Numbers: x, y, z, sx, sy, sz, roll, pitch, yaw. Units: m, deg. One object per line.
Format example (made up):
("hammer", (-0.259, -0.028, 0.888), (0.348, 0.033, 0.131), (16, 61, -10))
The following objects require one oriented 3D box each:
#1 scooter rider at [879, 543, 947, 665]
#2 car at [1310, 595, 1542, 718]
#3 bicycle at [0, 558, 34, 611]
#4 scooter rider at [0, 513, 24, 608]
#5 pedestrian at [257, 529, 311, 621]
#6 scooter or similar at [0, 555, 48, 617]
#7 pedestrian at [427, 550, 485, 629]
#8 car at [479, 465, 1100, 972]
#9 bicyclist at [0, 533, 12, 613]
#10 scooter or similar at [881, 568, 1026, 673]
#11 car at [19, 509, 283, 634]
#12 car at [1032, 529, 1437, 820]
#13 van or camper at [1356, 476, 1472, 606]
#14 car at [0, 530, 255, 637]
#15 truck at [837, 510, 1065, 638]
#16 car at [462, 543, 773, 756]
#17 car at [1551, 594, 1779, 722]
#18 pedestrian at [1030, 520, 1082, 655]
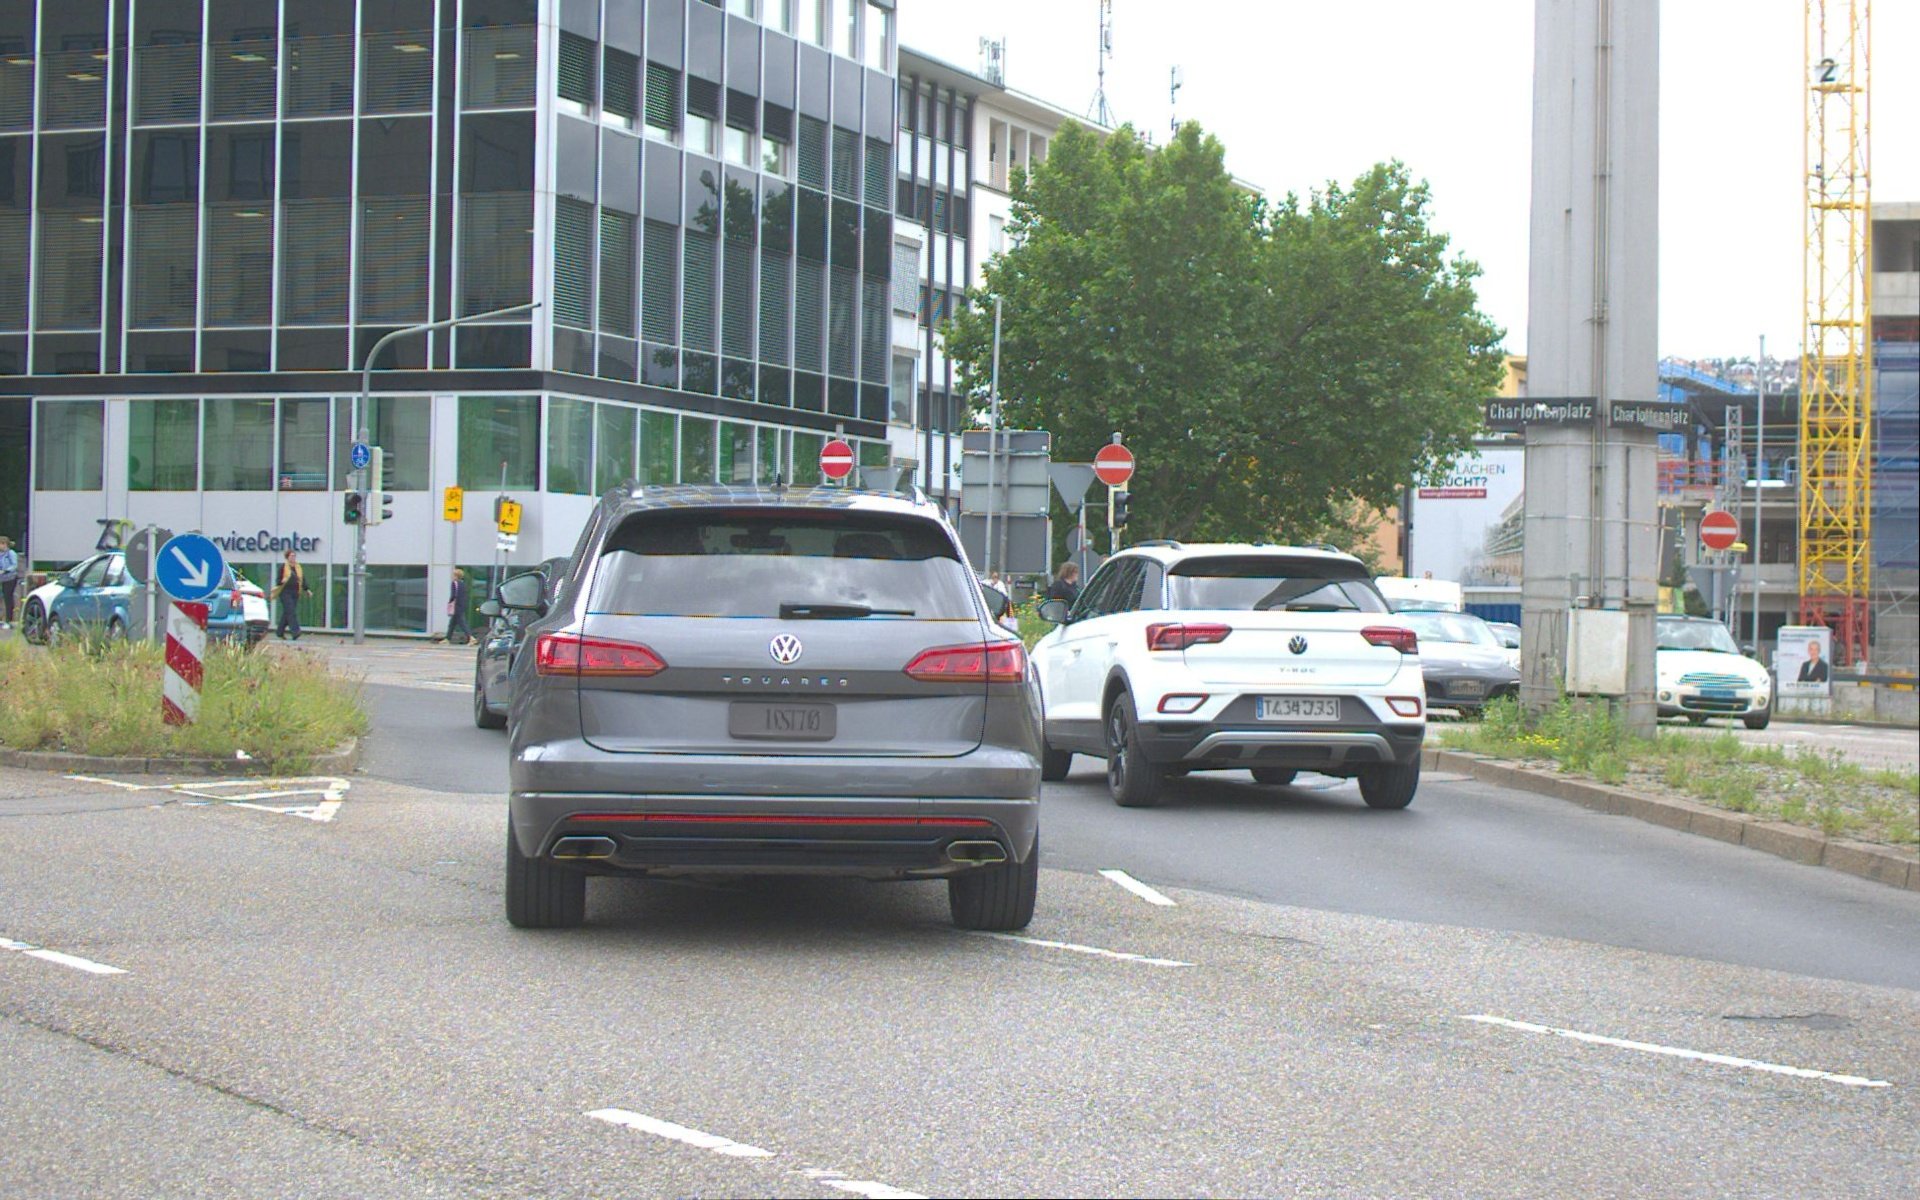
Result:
("scooter rider", (-0.663, 0.063, 48.768), (0.744, 1.688, 0.766), (2, 0, 12))
("car", (5.431, 0.627, 40.509), (1.670, 1.260, 4.059), (-1, 2, -8))
("bicycle", (-18.930, -0.313, 66.884), (1.664, 1.023, 0.581), (1, 1, -1))
("scooter rider", (-18.259, -0.760, 65.752), (0.641, 1.802, 0.593), (1, 1, -14))
("pedestrian", (-12.705, -0.479, 64.597), (0.800, 1.692, 0.547), (2, 2, 21))
("scooter or similar", (-18.145, -0.276, 65.793), (1.319, 1.172, 0.593), (1, 1, -14))
("pedestrian", (-9.430, -0.202, 64.320), (0.837, 1.438, 0.605), (2, 1, 23))
("car", (-0.859, 0.346, 13.763), (1.969, 1.690, 4.226), (1, 2, -9))
("bicyclist", (-18.949, -0.533, 66.876), (0.843, 1.544, 0.565), (1, 1, -1))
("scooter or similar", (-0.086, 0.291, 48.650), (1.883, 1.402, 0.776), (2, 0, 12))
("car", (-10.596, -0.389, 44.897), (1.832, 1.512, 3.766), (0, 2, -40))
("car", (1.578, 0.382, 21.155), (1.797, 1.540, 3.936), (2, 2, -5))
("van or camper", (9.292, -1.195, 70.017), (2.141, 2.469, 6.159), (2, 1, 9))
("car", (-12.935, -0.270, 53.030), (3.761, 1.512, 1.835), (2, 1, 31))
("truck", (-0.136, -0.627, 89.459), (2.341, 3.053, 8.187), (2, 0, 27))
("car", (-2.724, 0.324, 26.483), (1.833, 1.390, 4.149), (4, 1, -12))
("car", (9.022, 0.713, 44.285), (1.723, 1.413, 3.649), (2, 1, -7))
("pedestrian", (1.413, -0.181, 50.531), (0.641, 1.948, 0.610), (2, 0, 7))
